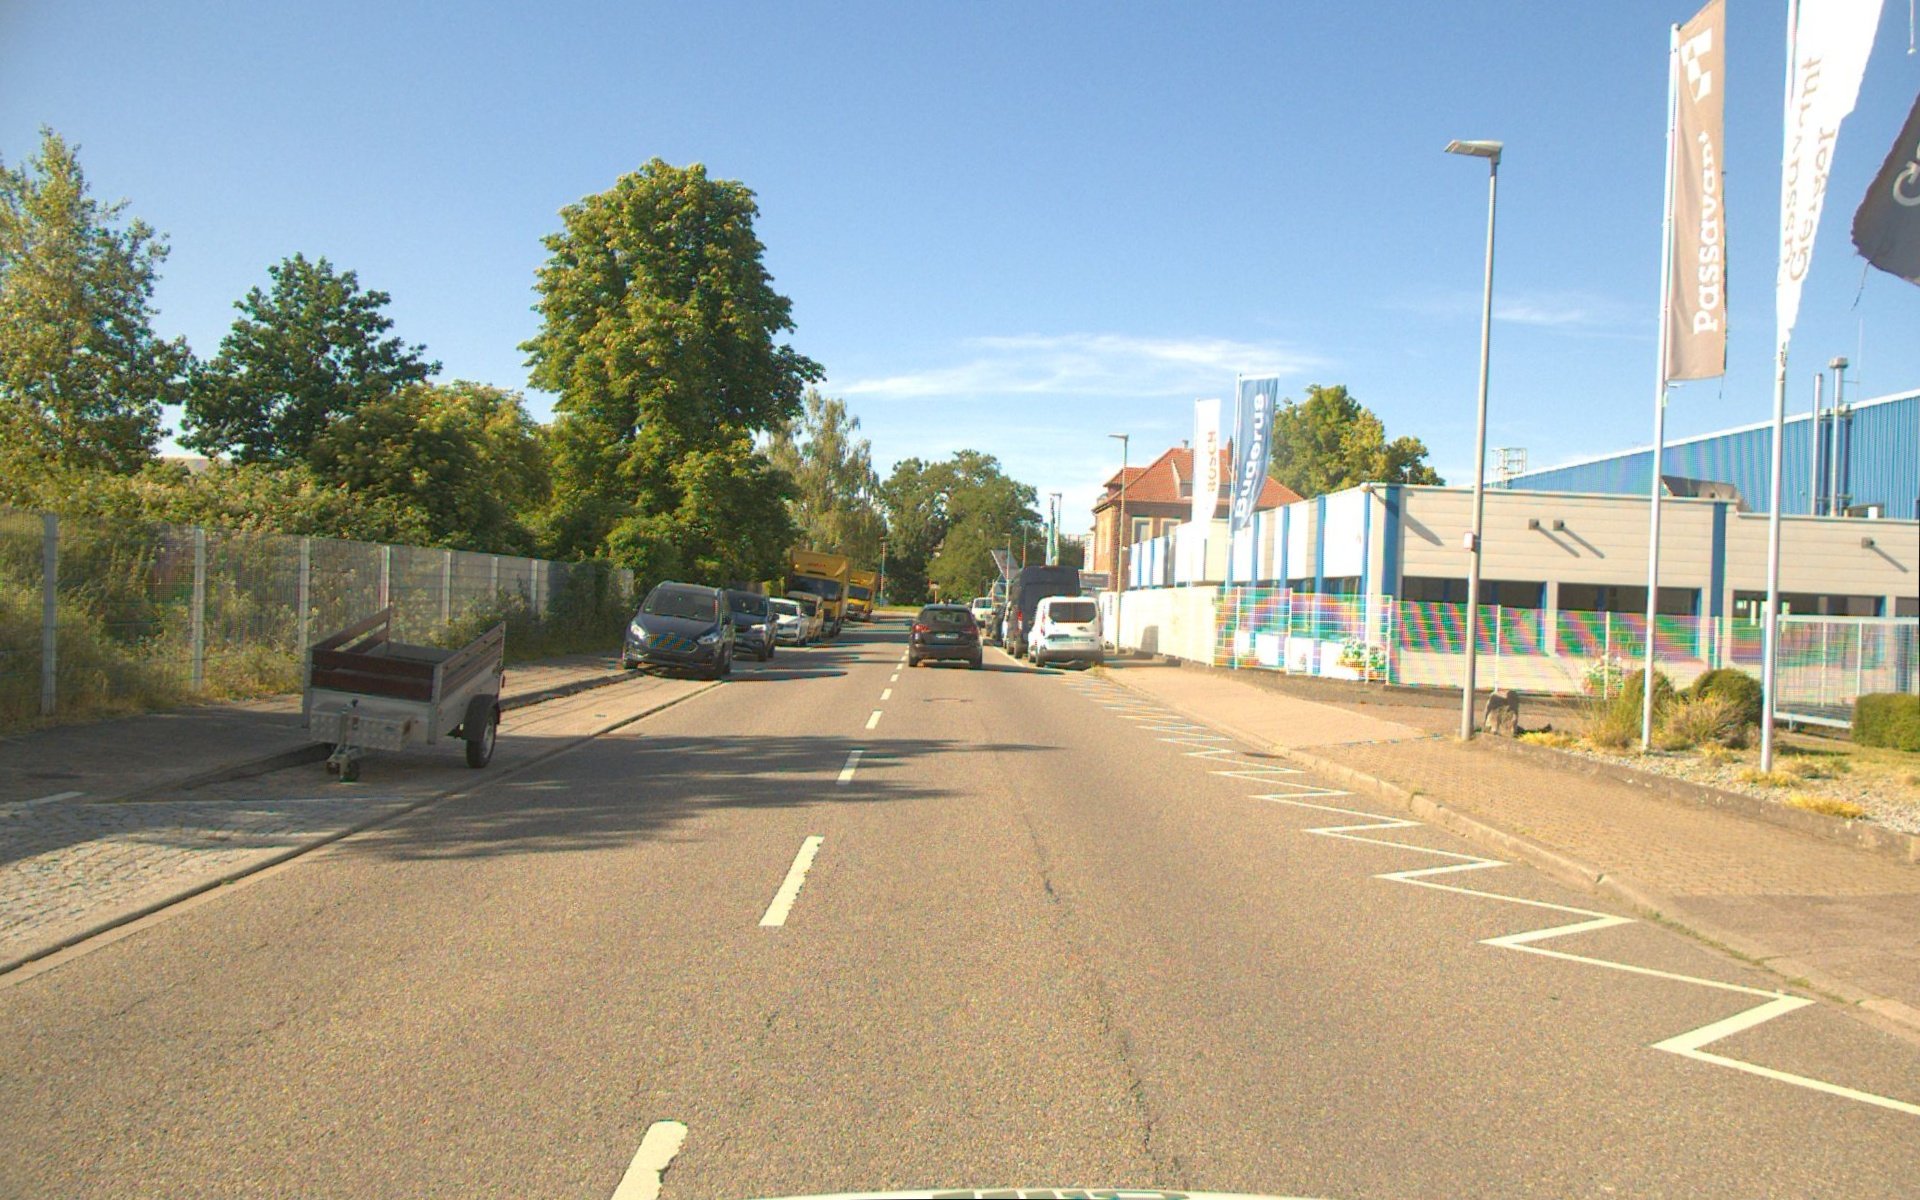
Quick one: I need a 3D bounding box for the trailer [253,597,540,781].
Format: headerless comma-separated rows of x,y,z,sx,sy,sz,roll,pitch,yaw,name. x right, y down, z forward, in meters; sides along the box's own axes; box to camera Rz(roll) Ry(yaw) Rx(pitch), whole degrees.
-4.899,0.727,14.782,1.447,1.377,3.078,4,-1,-1,trailer

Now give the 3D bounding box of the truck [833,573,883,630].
-7.185,0.044,117.428,2.580,3.563,8.656,8,0,0,truck

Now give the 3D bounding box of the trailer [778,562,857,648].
-6.276,0.251,73.848,2.931,3.503,8.158,2,-1,-2,trailer

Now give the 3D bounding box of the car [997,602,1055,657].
2.461,1.113,62.636,1.818,1.862,5.167,4,-1,-1,car

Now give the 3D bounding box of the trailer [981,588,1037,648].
2.365,0.891,81.153,2.410,2.719,5.700,2,-1,-1,trailer

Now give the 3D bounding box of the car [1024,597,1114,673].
2.894,0.944,44.969,1.848,1.829,5.102,4,-1,-2,car

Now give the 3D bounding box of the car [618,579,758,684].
-5.320,0.594,32.947,1.755,1.760,4.802,6,0,1,car

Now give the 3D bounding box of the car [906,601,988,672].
-0.291,0.842,39.673,1.809,1.557,4.000,2,0,0,car

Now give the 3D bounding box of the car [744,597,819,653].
-6.089,0.839,56.964,1.870,1.620,5.024,7,-1,0,car

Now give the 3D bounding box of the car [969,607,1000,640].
1.633,1.591,111.455,1.836,2.049,5.159,4,-1,0,car

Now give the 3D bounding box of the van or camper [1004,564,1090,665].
2.624,0.484,51.412,2.097,2.807,6.160,4,-1,-1,van or camper

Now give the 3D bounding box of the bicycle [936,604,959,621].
-1.080,1.056,140.103,0.797,1.290,2.231,5,-1,-35,bicycle

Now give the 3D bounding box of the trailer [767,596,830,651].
-6.100,0.889,62.934,1.953,1.976,4.414,2,-1,-1,trailer

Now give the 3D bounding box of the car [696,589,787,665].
-5.707,0.687,43.643,1.871,1.691,4.460,7,-1,-3,car
